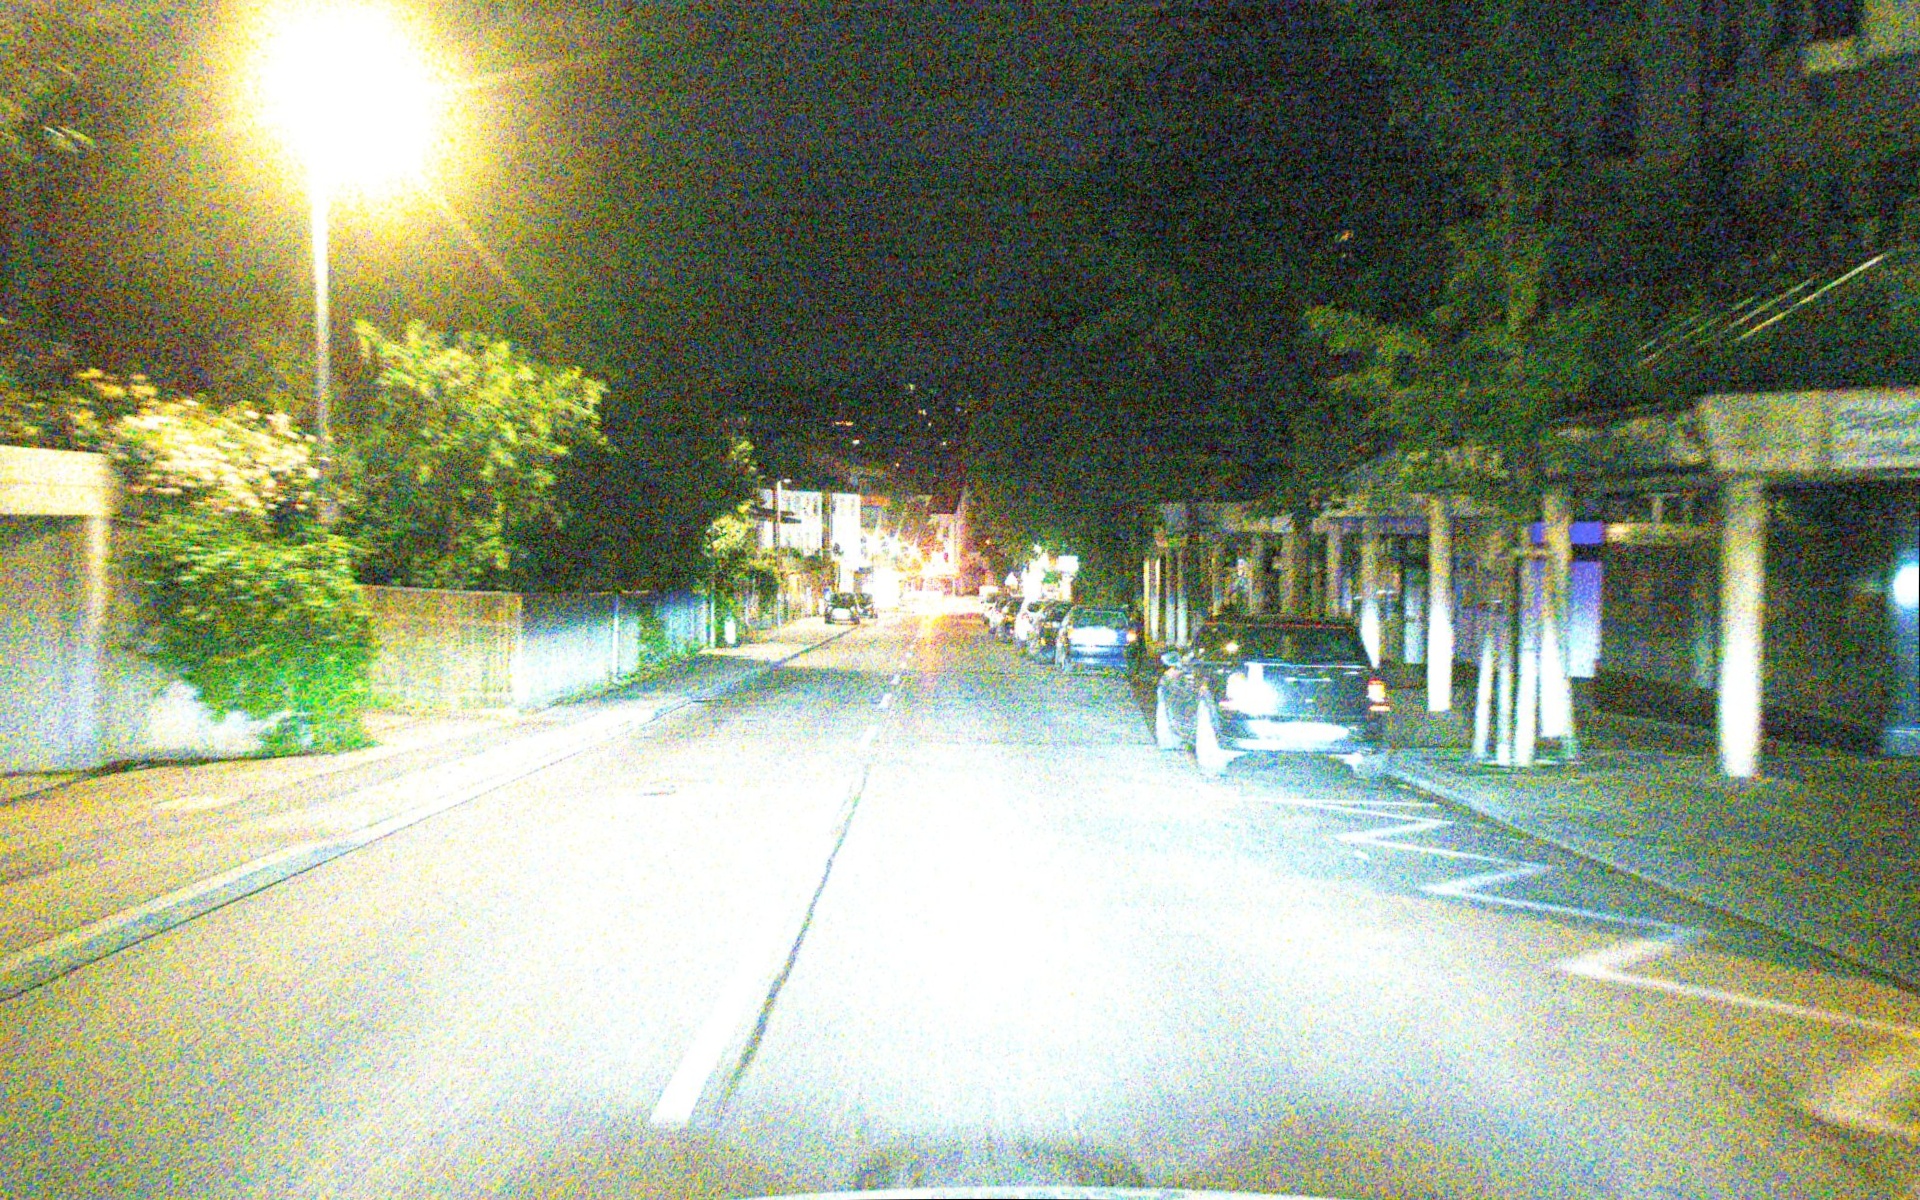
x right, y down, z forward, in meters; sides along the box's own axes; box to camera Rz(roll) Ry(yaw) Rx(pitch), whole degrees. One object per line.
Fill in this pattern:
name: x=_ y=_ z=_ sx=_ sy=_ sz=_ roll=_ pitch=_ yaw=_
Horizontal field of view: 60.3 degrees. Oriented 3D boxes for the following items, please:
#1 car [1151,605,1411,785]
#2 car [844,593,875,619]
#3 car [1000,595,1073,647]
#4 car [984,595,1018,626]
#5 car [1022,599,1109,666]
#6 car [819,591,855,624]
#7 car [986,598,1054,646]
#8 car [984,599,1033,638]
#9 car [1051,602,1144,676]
car: x=2.933 y=0.811 z=15.884 sx=1.597 sy=1.464 sz=3.863 roll=1 pitch=0 yaw=-2
car: x=-6.018 y=0.350 z=99.405 sx=1.718 sy=1.566 sz=3.729 roll=0 pitch=0 yaw=-2
car: x=2.319 y=0.630 z=50.995 sx=1.650 sy=1.474 sz=3.995 roll=2 pitch=0 yaw=-6
car: x=2.146 y=0.547 z=87.231 sx=1.648 sy=1.566 sz=4.000 roll=0 pitch=0 yaw=0
car: x=2.518 y=0.756 z=40.400 sx=1.649 sy=1.474 sz=3.998 roll=2 pitch=0 yaw=-3
car: x=-6.099 y=0.359 z=82.281 sx=1.718 sy=1.566 sz=3.728 roll=0 pitch=0 yaw=-4
car: x=1.989 y=0.703 z=55.641 sx=1.650 sy=1.474 sz=3.994 roll=2 pitch=0 yaw=-7
car: x=1.929 y=0.713 z=66.817 sx=1.649 sy=1.474 sz=3.998 roll=2 pitch=0 yaw=-3
car: x=2.900 y=0.789 z=35.559 sx=1.829 sy=1.427 sz=4.002 roll=2 pitch=0 yaw=3
